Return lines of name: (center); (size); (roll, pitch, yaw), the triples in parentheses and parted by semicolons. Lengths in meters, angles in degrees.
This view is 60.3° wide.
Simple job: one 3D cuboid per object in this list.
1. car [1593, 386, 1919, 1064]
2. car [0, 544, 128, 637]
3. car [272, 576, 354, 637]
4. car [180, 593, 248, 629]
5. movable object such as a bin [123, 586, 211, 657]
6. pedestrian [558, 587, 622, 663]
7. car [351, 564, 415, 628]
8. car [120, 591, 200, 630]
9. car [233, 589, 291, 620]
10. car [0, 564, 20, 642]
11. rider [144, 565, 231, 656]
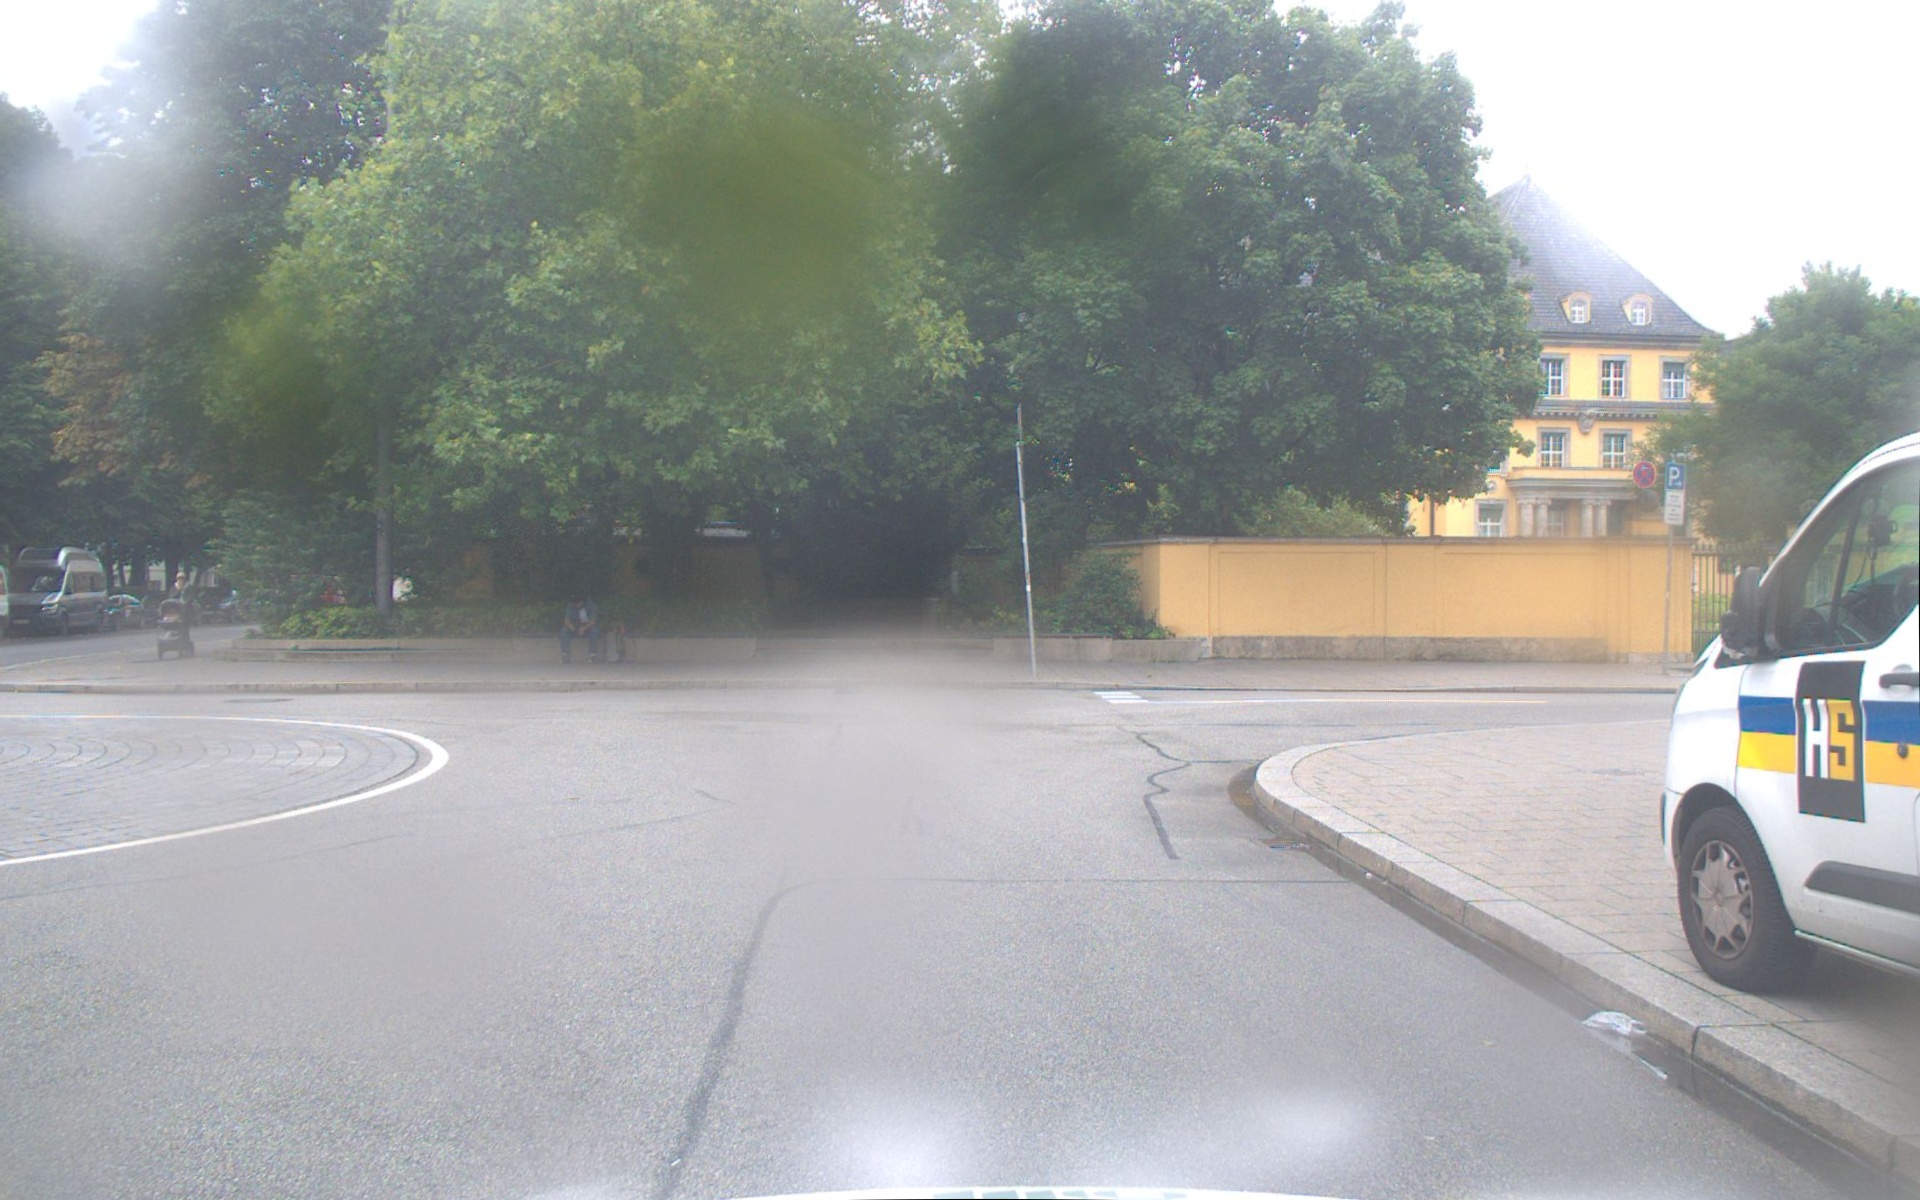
car: (3.784, 0.358, 4.533); (1.878, 1.996, 4.922); (-1, 1, -5)
car: (-30.758, -0.330, 56.400); (2.291, 2.973, 6.566); (0, 0, -8)
car: (-21.579, 0.183, 55.323); (2.007, 1.956, 4.430); (0, 0, -14)
car: (-34.097, 0.490, 75.706); (1.861, 1.599, 4.065); (0, 0, -9)
movable object such as a bin: (-15.124, 0.405, 31.580); (1.055, 1.289, 1.087); (-2, 0, 4)
pedestrian: (-6.001, 0.389, 26.835); (0.795, 1.209, 0.919); (0, 0, 2)
car: (-24.635, -0.185, 70.756); (2.006, 2.603, 5.230); (0, 0, -13)
car: (-32.496, 0.402, 67.302); (1.861, 1.565, 4.065); (0, 0, -9)
car: (-36.590, 0.204, 86.770); (1.861, 1.599, 4.065); (0, 0, -9)
car: (-29.075, 0.089, 47.274); (2.071, 2.290, 5.185); (0, 0, -8)
rider: (-15.081, 0.200, 32.327); (1.059, 1.696, 1.140); (-2, 0, 4)
